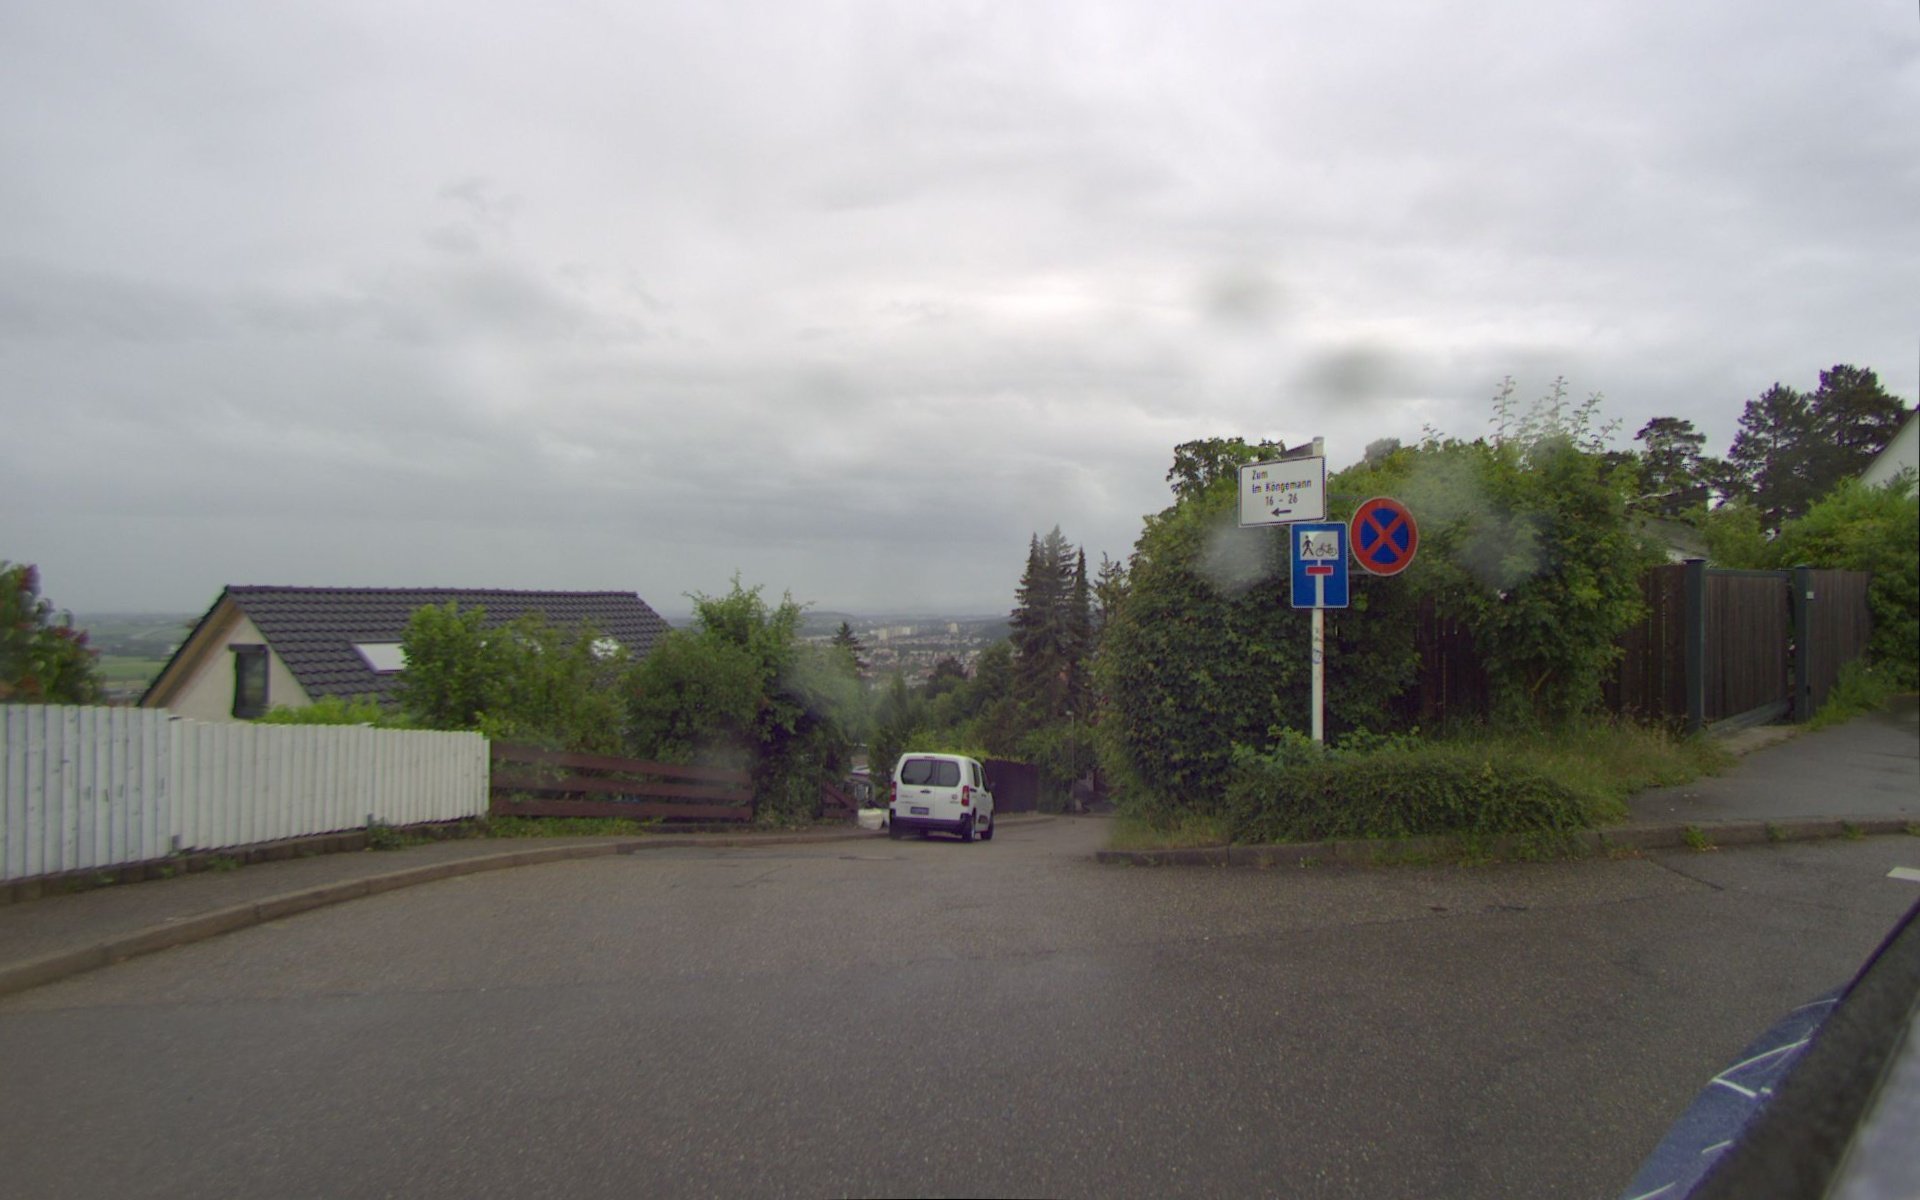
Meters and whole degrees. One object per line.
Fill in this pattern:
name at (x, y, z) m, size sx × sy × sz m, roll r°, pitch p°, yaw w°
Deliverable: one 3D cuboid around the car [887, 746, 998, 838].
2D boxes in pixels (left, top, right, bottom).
car at (-0.275, 4.253, 22.264) m, size 1.726 × 1.766 × 3.983 m, roll 0°, pitch -12°, yaw 10°
